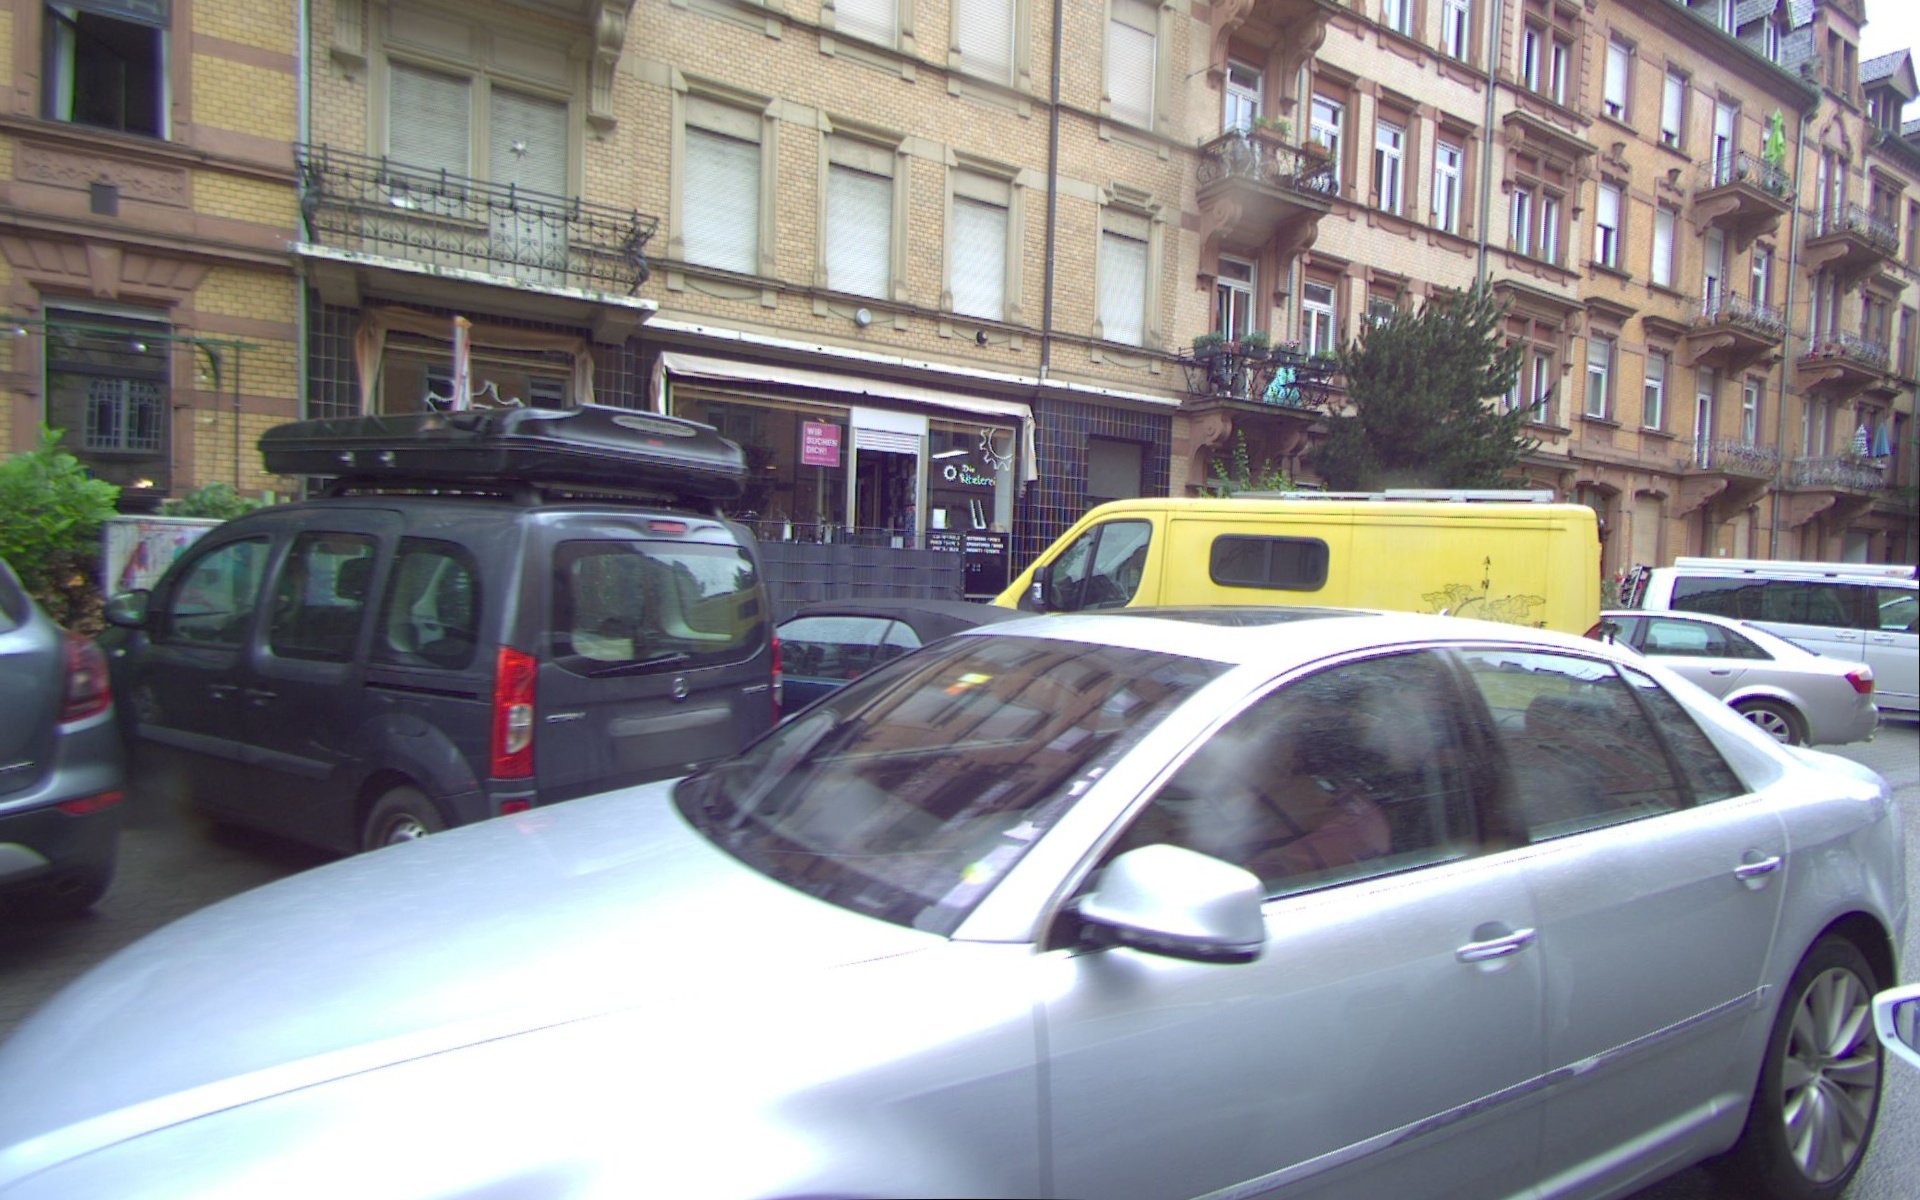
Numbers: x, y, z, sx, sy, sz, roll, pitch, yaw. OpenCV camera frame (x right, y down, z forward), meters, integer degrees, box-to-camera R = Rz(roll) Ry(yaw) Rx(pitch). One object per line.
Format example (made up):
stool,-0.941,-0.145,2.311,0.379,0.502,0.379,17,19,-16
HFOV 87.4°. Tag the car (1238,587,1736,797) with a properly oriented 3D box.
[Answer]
car,4.907,0.717,9.760,3.849,1.515,1.959,3,2,30

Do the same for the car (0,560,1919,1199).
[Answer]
car,0.681,0.747,2.638,4.529,1.514,1.787,1,1,-30

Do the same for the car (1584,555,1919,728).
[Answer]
car,11.865,0.526,14.005,5.168,2.106,1.863,4,2,36

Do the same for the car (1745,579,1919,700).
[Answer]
car,16.484,0.719,16.838,2.515,1.809,4.556,1,4,-30

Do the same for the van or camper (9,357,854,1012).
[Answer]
van or camper,-2.833,0.138,5.269,4.010,2.269,1.934,6,2,28

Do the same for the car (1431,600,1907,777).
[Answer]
car,7.470,0.816,11.044,3.930,1.455,1.780,3,2,32

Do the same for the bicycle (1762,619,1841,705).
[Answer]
bicycle,13.251,0.940,15.865,0.534,1.190,2.040,3,2,30

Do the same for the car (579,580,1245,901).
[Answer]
car,-0.362,0.651,6.478,3.927,1.515,1.824,0,0,29

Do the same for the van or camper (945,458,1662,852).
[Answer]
van or camper,2.479,0.153,7.944,4.640,2.299,2.181,5,4,28

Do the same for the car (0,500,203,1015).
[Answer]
car,-5.102,0.354,3.808,4.060,1.684,1.800,6,2,24
